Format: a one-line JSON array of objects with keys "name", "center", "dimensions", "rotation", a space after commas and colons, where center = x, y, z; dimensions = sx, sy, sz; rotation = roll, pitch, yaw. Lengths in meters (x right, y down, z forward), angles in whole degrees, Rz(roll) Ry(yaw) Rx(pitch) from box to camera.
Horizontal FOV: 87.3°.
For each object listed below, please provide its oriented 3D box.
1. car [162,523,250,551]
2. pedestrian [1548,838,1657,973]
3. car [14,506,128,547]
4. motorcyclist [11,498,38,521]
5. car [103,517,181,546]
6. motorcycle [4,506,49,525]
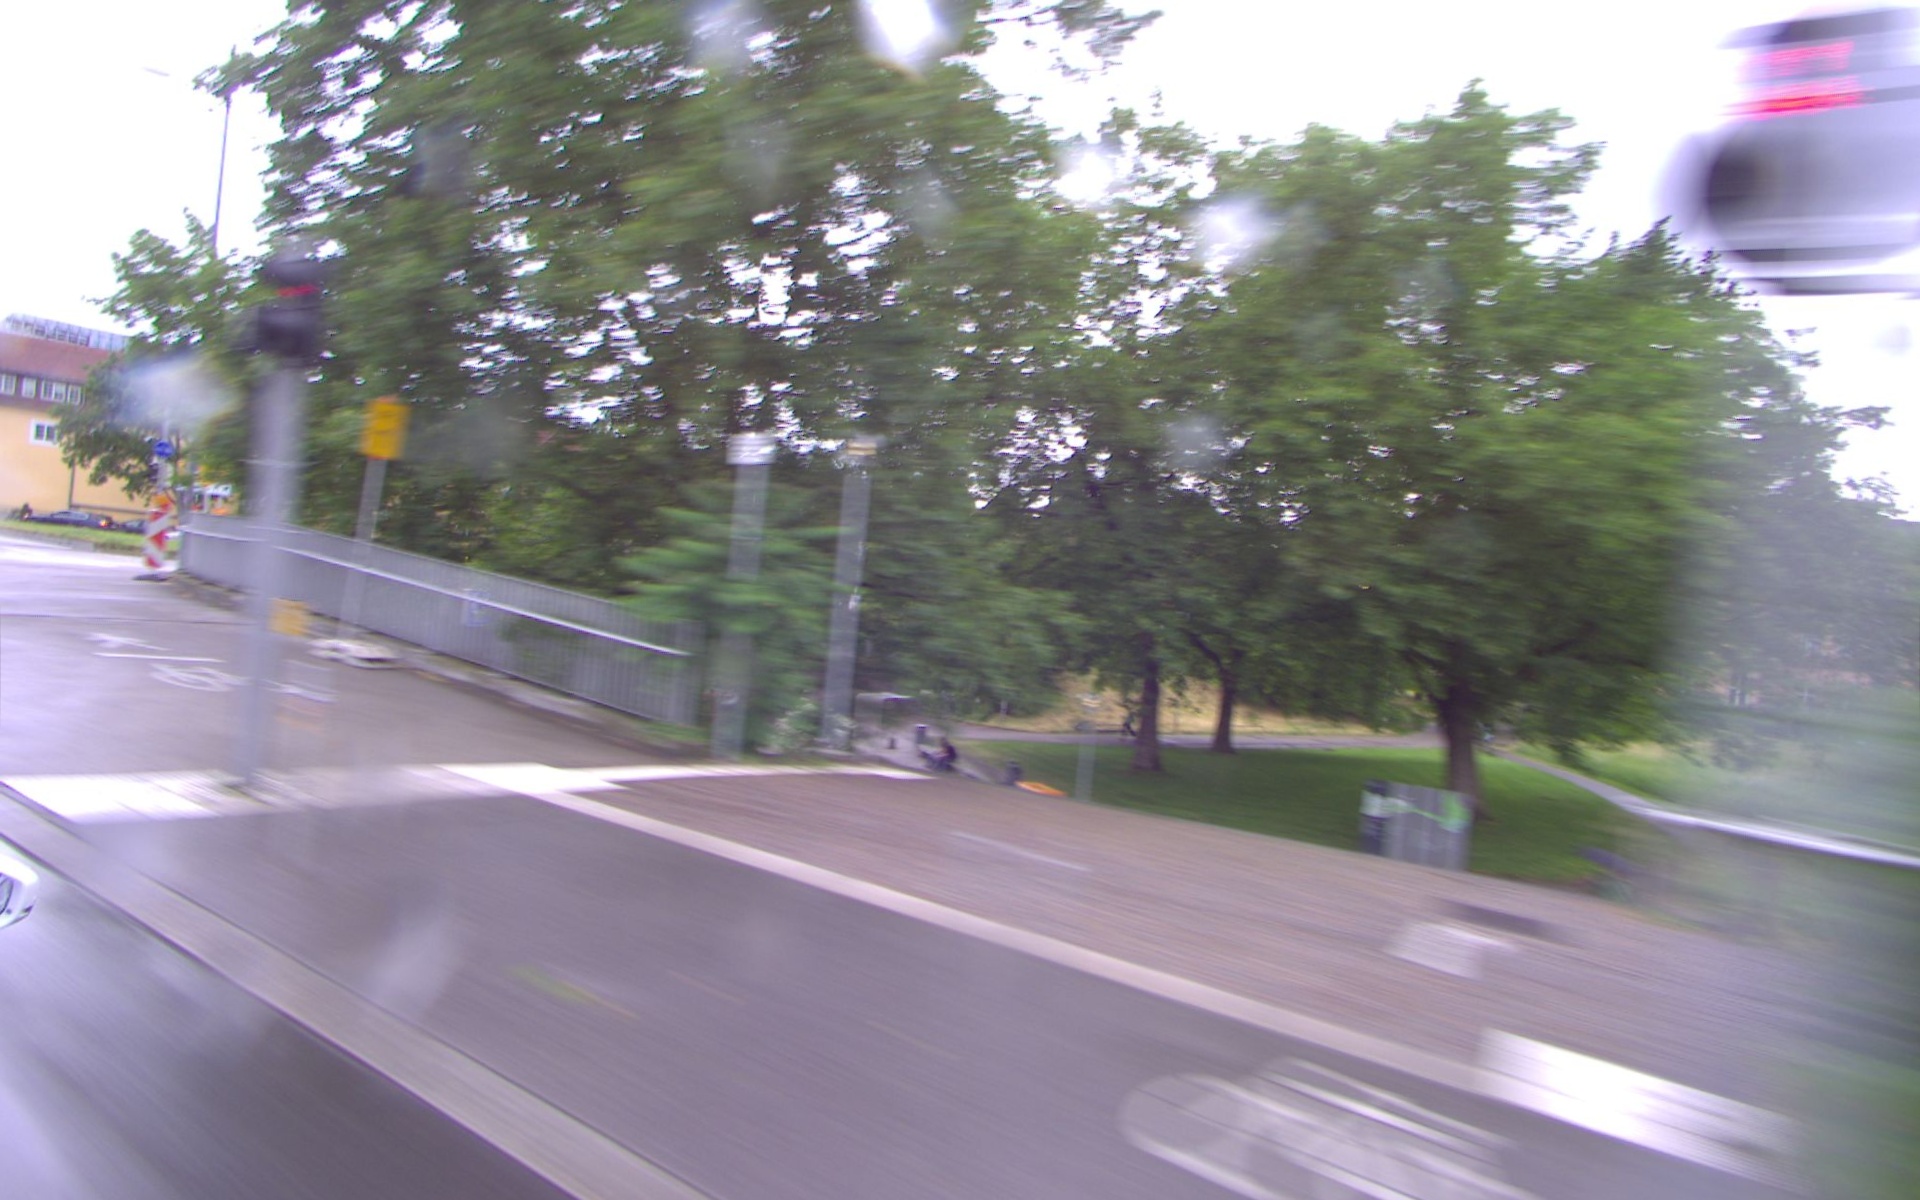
[{"name": "car", "center": [-47.999, -4.005, 64.092], "dimensions": [4.298, 1.153, 1.543], "rotation": [6, -3, -1]}, {"name": "pedestrian", "center": [10.379, 4.913, 16.265], "dimensions": [0.934, 1.873, 1.024], "rotation": [6, -2, -19]}, {"name": "car", "center": [-54.652, -4.518, 61.955], "dimensions": [4.743, 1.728, 1.996], "rotation": [7, -3, -16]}, {"name": "motorcyclist", "center": [-59.165, -5.709, 63.609], "dimensions": [1.070, 1.287, 0.685], "rotation": [7, -3, -37]}, {"name": "car", "center": [-53.948, -4.495, 66.427], "dimensions": [3.559, 1.351, 1.571], "rotation": [7, -3, -23]}, {"name": "motorcycle", "center": [-59.183, -5.333, 63.785], "dimensions": [1.953, 0.862, 0.541], "rotation": [8, -3, -36]}]
